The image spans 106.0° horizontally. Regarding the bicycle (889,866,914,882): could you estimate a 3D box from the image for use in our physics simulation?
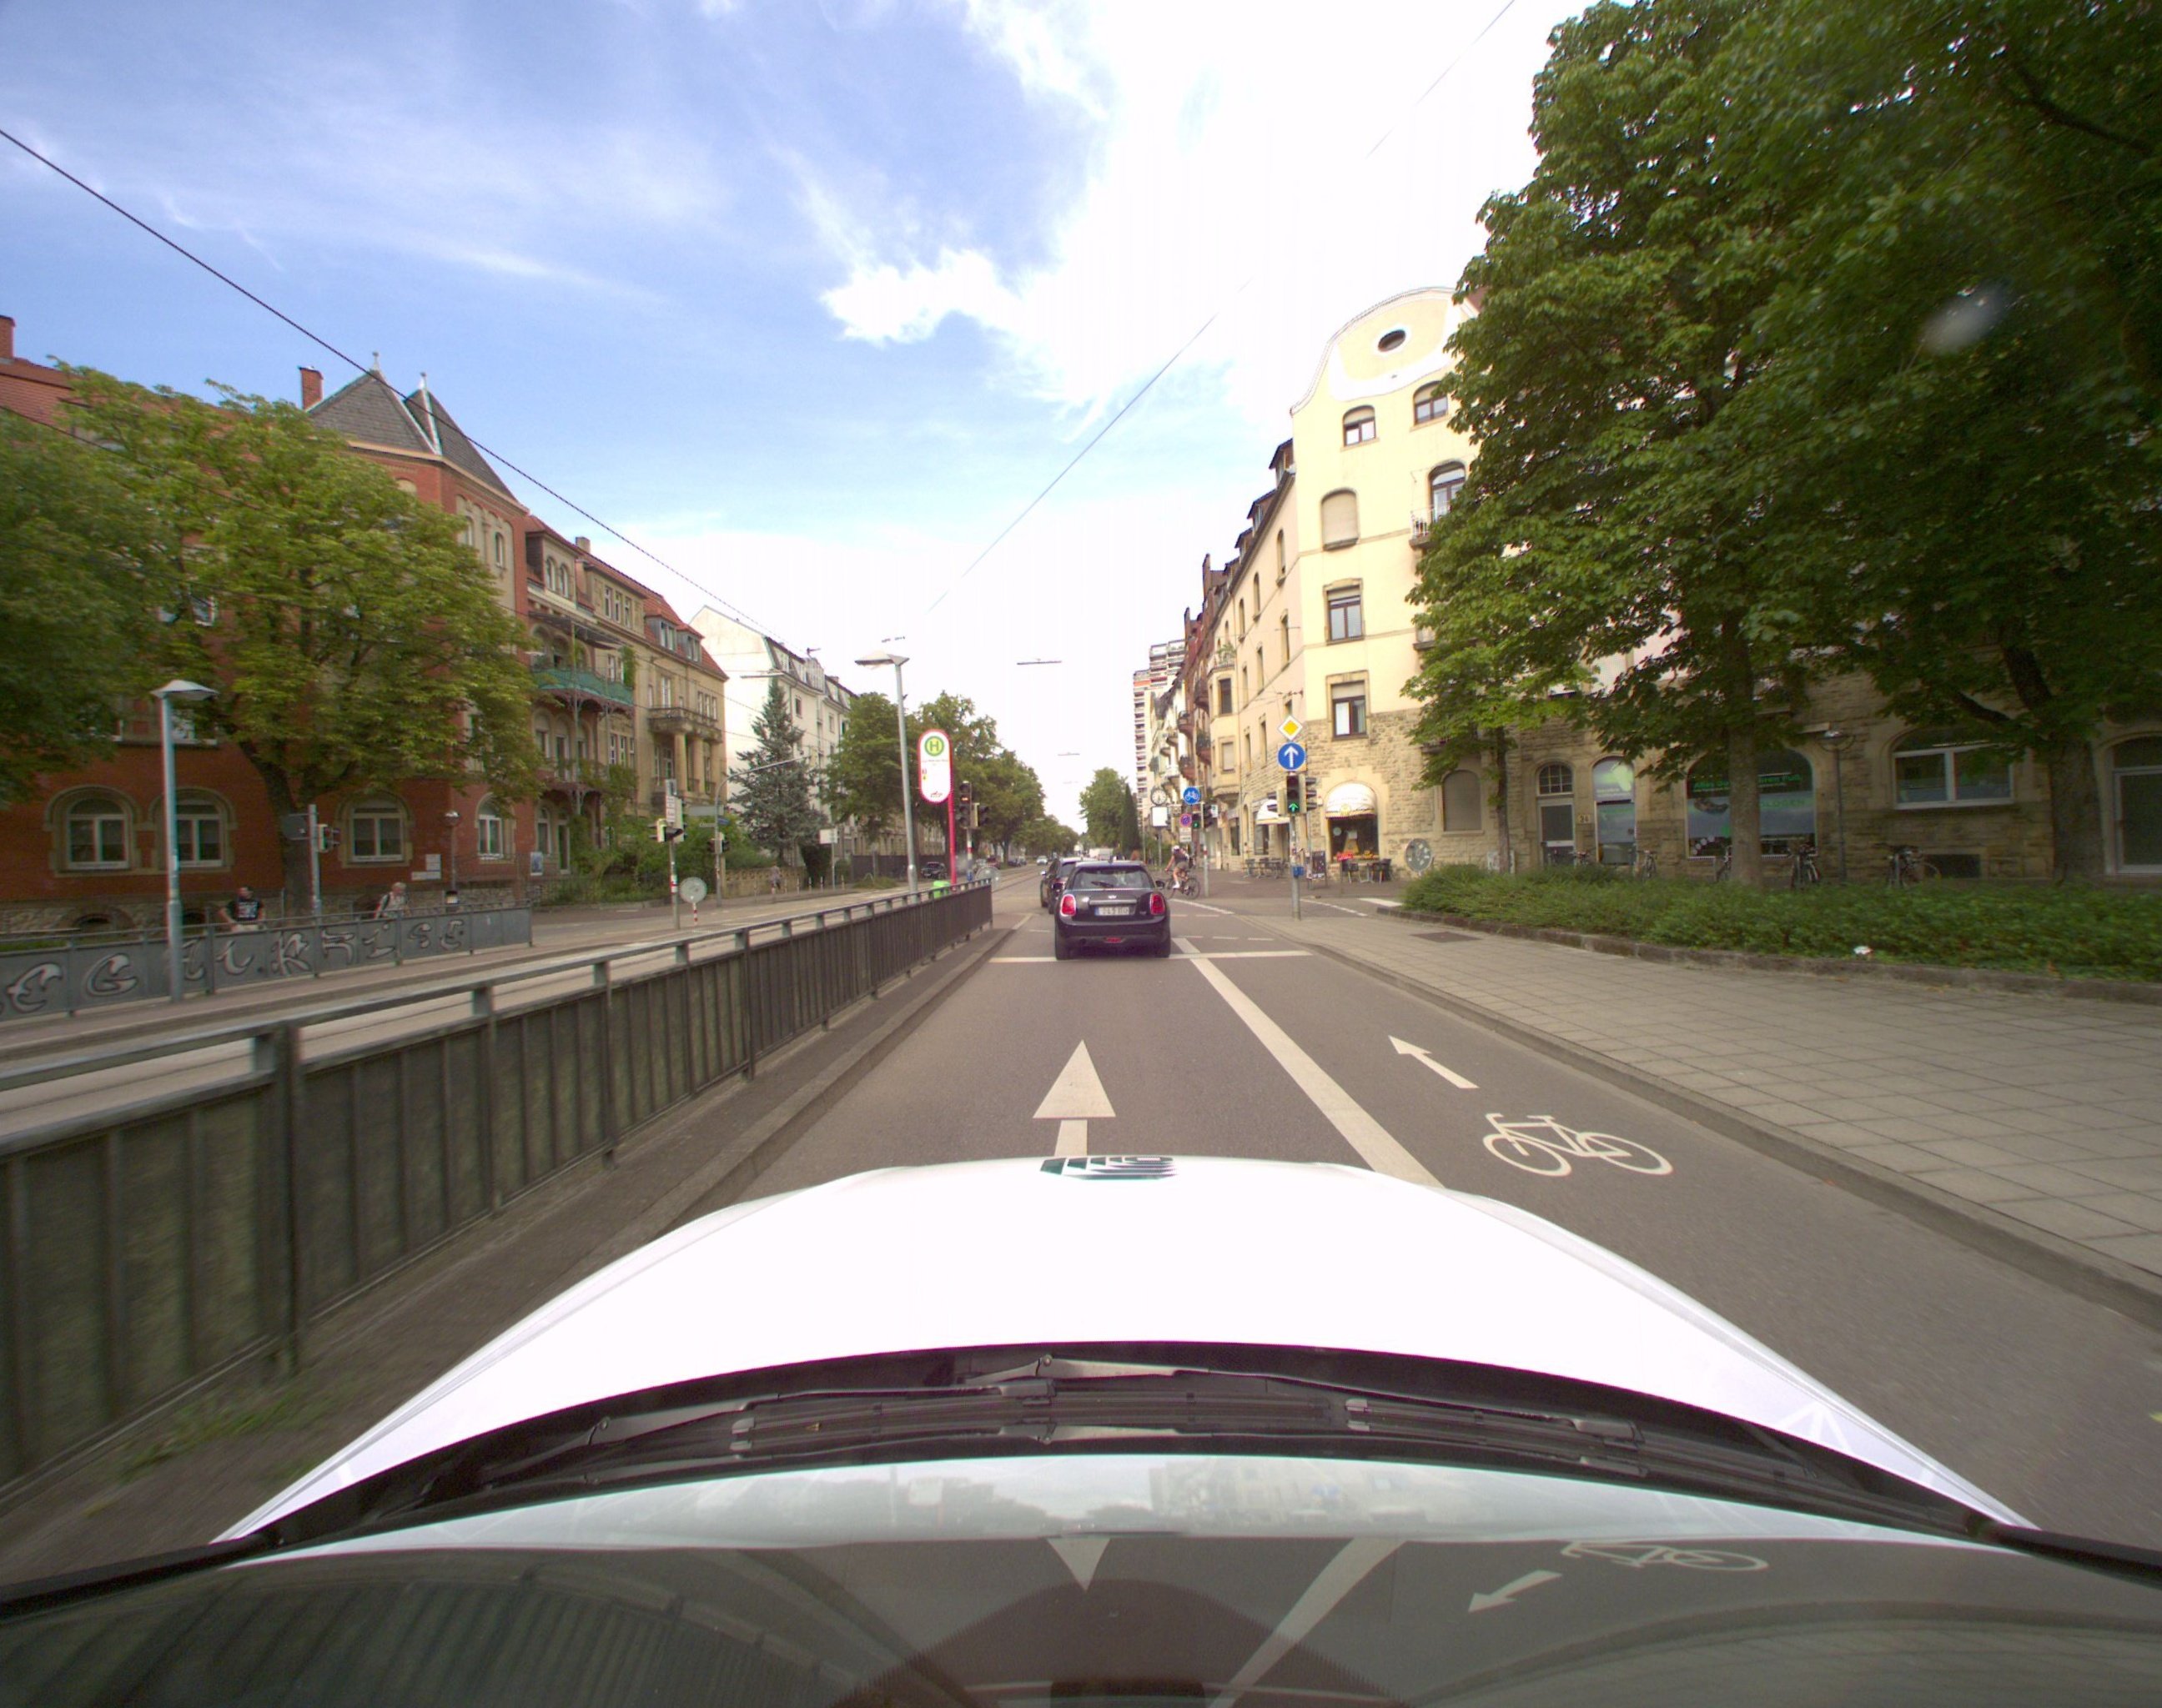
[{"bbox_3d":[-13.453,1.520,61.028,1.680,1.119,0.566,-3,0,-38],"label":"bicycle"}]

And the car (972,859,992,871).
[{"bbox_3d":[-11.923,1.329,98.482,1.761,1.395,4.000,-2,0,1],"label":"car"}]

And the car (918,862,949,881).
[{"bbox_3d":[-12.405,1.437,68.487,1.761,1.395,4.000,-2,0,1],"label":"car"}]

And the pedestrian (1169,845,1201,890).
[{"bbox_3d":[4.096,0.518,32.197,0.840,1.674,0.724,-5,0,-42],"label":"pedestrian"}]

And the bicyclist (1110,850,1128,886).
[{"bbox_3d":[1.700,0.608,36.335,0.681,1.564,0.999,-3,0,3],"label":"bicyclist"}]

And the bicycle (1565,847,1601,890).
[{"bbox_3d":[13.125,0.366,21.276,0.444,1.055,1.659,-3,0,43],"label":"bicycle"}]

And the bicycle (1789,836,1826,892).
[{"bbox_3d":[15.867,0.203,17.769,0.526,1.128,1.905,-3,0,43],"label":"bicycle"}]

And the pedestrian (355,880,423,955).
[{"bbox_3d":[-16.003,1.460,18.851,0.867,1.632,0.744,-2,0,-4],"label":"pedestrian"}]

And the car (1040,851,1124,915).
[{"bbox_3d":[-0.072,0.729,22.288,1.924,1.510,3.993,-2,0,-5],"label":"car"}]

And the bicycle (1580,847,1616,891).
[{"bbox_3d":[13.269,0.363,20.891,0.444,1.055,1.659,-3,0,43],"label":"bicycle"}]

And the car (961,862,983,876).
[{"bbox_3d":[-11.773,1.561,88.184,1.761,1.395,4.000,-2,0,1],"label":"car"}]

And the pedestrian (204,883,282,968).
[{"bbox_3d":[-17.814,1.492,17.325,0.831,1.703,0.732,-2,0,-4],"label":"pedestrian"}]

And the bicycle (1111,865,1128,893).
[{"bbox_3d":[1.724,1.089,36.387,0.681,1.170,1.698,-3,0,3],"label":"bicycle"}]

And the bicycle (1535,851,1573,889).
[{"bbox_3d":[12.825,0.423,22.047,0.595,0.972,1.683,-3,0,39],"label":"bicycle"}]

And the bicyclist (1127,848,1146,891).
[{"bbox_3d":[2.045,0.560,29.965,0.592,1.550,1.014,-3,0,1],"label":"bicyclist"}]

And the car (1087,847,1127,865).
[{"bbox_3d":[3.631,0.251,112.567,5.065,2.272,2.369,-2,0,-39],"label":"car"}]

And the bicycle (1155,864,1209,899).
[{"bbox_3d":[3.271,0.893,26.528,0.619,1.076,1.800,-3,0,-37],"label":"bicycle"}]

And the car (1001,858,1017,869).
[{"bbox_3d":[-11.485,1.529,130.214,1.986,1.552,4.002,-2,0,2],"label":"car"}]

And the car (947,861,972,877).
[{"bbox_3d":[-11.998,1.447,80.511,1.761,1.395,4.000,-2,0,1],"label":"car"}]

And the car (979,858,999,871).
[{"bbox_3d":[-12.053,1.390,107.244,1.986,1.552,4.002,-2,0,2],"label":"car"}]

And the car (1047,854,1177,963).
[{"bbox_3d":[0.506,0.763,13.311,1.745,1.441,4.002,-2,0,2],"label":"car"}]

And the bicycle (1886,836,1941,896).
[{"bbox_3d":[16.877,0.222,16.532,0.659,1.128,1.905,-3,0,43],"label":"bicycle"}]

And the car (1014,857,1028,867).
[{"bbox_3d":[-10.726,1.412,146.443,1.986,1.552,4.002,-2,0,2],"label":"car"}]

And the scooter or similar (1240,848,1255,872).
[{"bbox_3d":[8.391,0.296,41.047,0.506,1.188,1.262,-3,0,2],"label":"scooter or similar"}]

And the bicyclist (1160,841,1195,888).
[{"bbox_3d":[3.159,0.344,26.658,0.619,1.473,0.905,-2,0,-37],"label":"bicyclist"}]

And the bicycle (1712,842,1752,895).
[{"bbox_3d":[14.954,0.321,18.703,0.526,1.128,1.905,-3,0,43],"label":"bicycle"}]

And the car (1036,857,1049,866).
[{"bbox_3d":[-6.365,1.171,135.631,1.761,1.395,4.000,-2,0,1],"label":"car"}]

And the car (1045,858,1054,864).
[{"bbox_3d":[-8.613,1.940,223.054,1.986,1.552,4.002,-2,0,2],"label":"car"}]

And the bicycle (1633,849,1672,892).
[{"bbox_3d":[14.062,0.396,20.036,0.526,0.972,1.659,-3,0,43],"label":"bicycle"}]

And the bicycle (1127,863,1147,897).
[{"bbox_3d":[2.054,0.935,29.967,0.596,1.170,1.697,-3,0,2],"label":"bicycle"}]

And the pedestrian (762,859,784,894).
[{"bbox_3d":[-16.284,1.191,43.093,0.727,1.783,0.835,-2,0,1],"label":"pedestrian"}]
